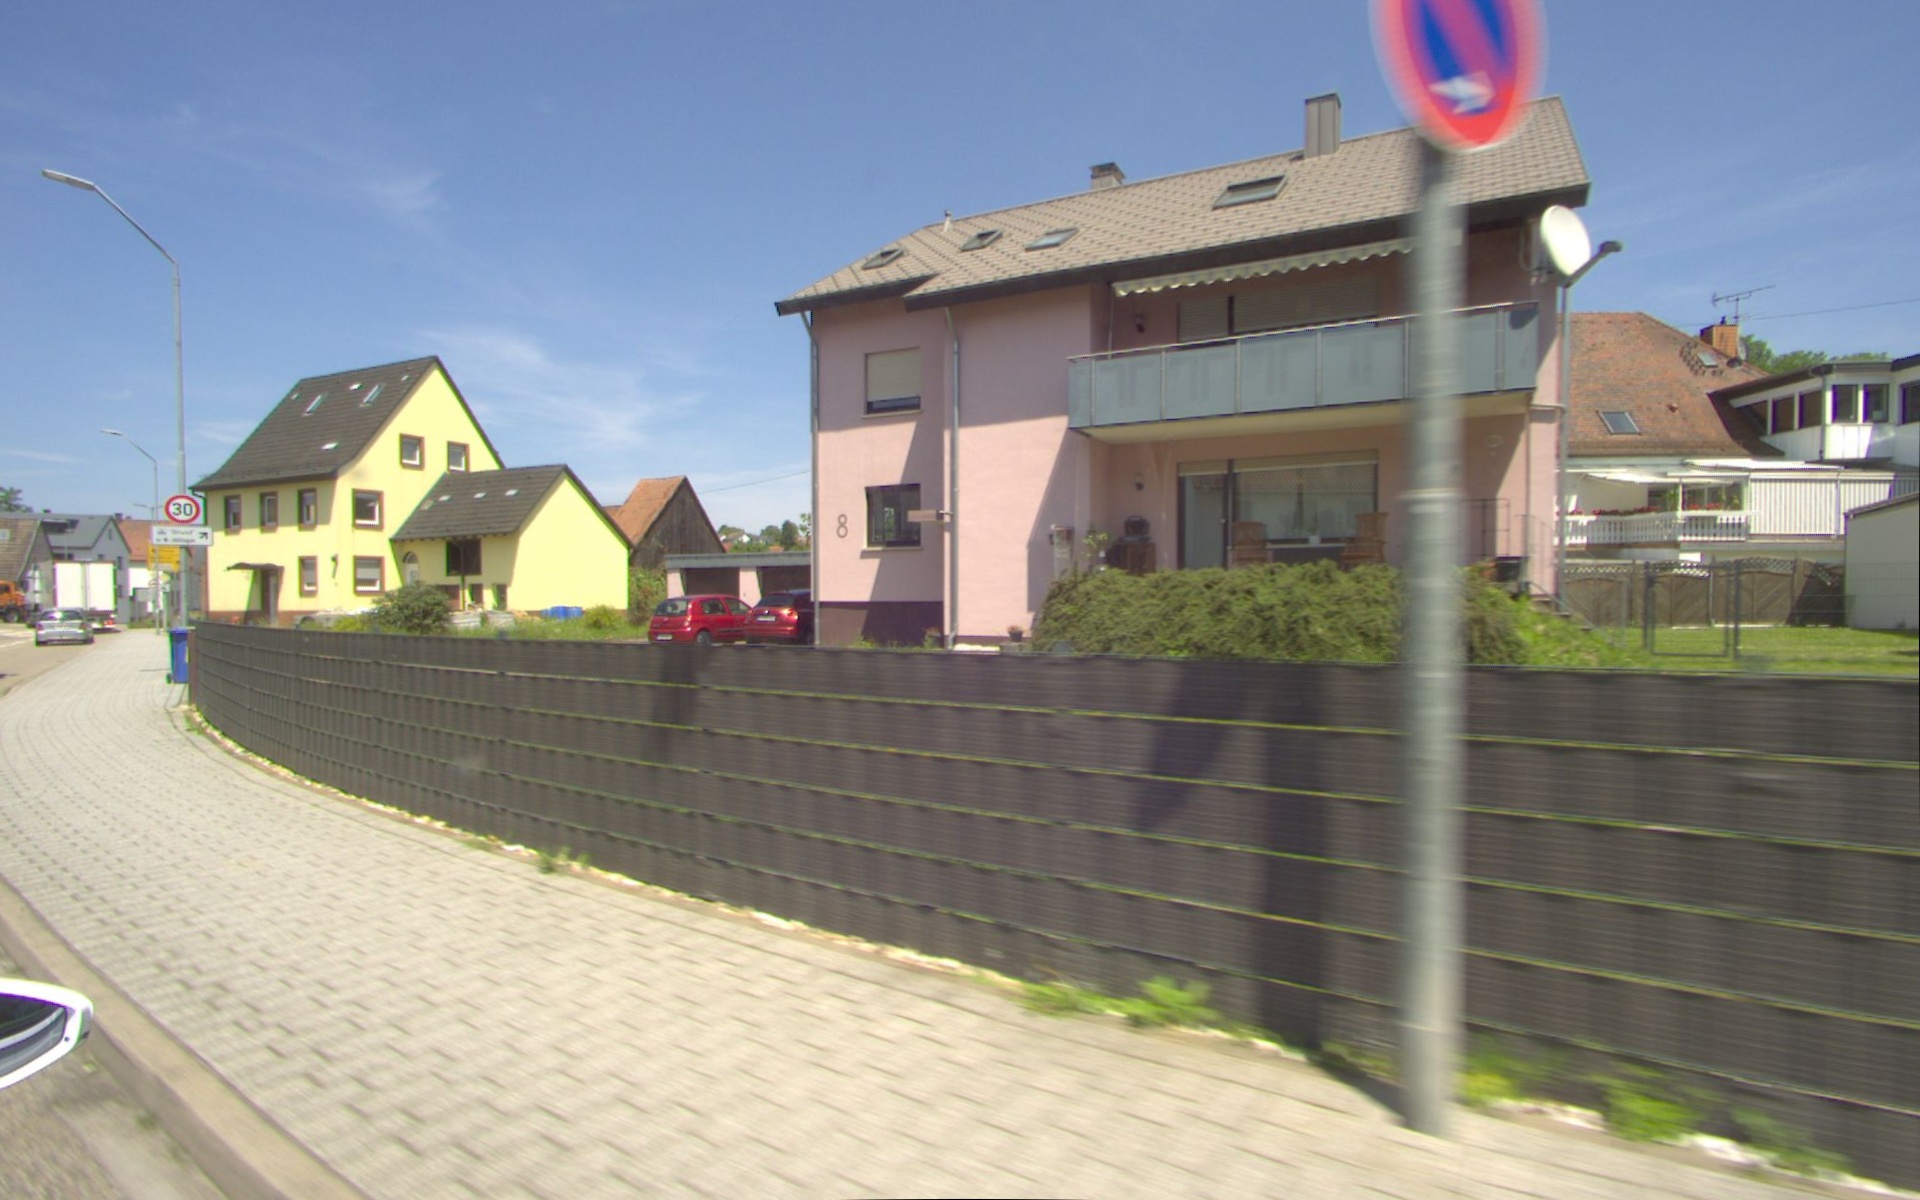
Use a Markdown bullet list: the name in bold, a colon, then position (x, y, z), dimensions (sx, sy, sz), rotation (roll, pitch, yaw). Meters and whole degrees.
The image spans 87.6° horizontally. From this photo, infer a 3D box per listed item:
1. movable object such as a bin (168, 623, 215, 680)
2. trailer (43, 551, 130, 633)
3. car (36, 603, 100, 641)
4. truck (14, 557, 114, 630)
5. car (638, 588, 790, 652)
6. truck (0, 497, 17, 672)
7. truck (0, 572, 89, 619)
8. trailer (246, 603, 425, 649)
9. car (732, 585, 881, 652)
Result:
- **movable object such as a bin**: position (-14.909, 0.991, 19.432), dimensions (0.642, 1.071, 0.563), rotation (0, 1, 37)
- **trailer**: position (-51.036, -0.348, 58.327), dimensions (3.112, 4.333, 12.370), rotation (0, 0, -44)
- **car**: position (-37.570, 0.894, 42.149), dimensions (1.831, 1.505, 3.960), rotation (0, 0, -45)
- **truck**: position (-56.906, -0.351, 63.584), dimensions (5.848, 4.459, 3.099), rotation (0, 0, 31)
- **car**: position (-6.350, 0.471, 26.233), dimensions (1.734, 1.506, 3.820), rotation (0, 1, 29)
- **truck**: position (-22.621, -0.374, 21.146), dimensions (2.957, 4.017, 5.544), rotation (0, 0, -33)
- **truck**: position (-68.889, -0.245, 74.015), dimensions (2.618, 3.221, 7.466), rotation (0, -2, -2)
- **trailer**: position (-22.724, 0.944, 36.735), dimensions (2.103, 1.566, 5.350), rotation (0, -1, 23)
- **car**: position (-3.839, 0.473, 25.692), dimensions (1.821, 1.568, 4.112), rotation (0, -1, 25)
